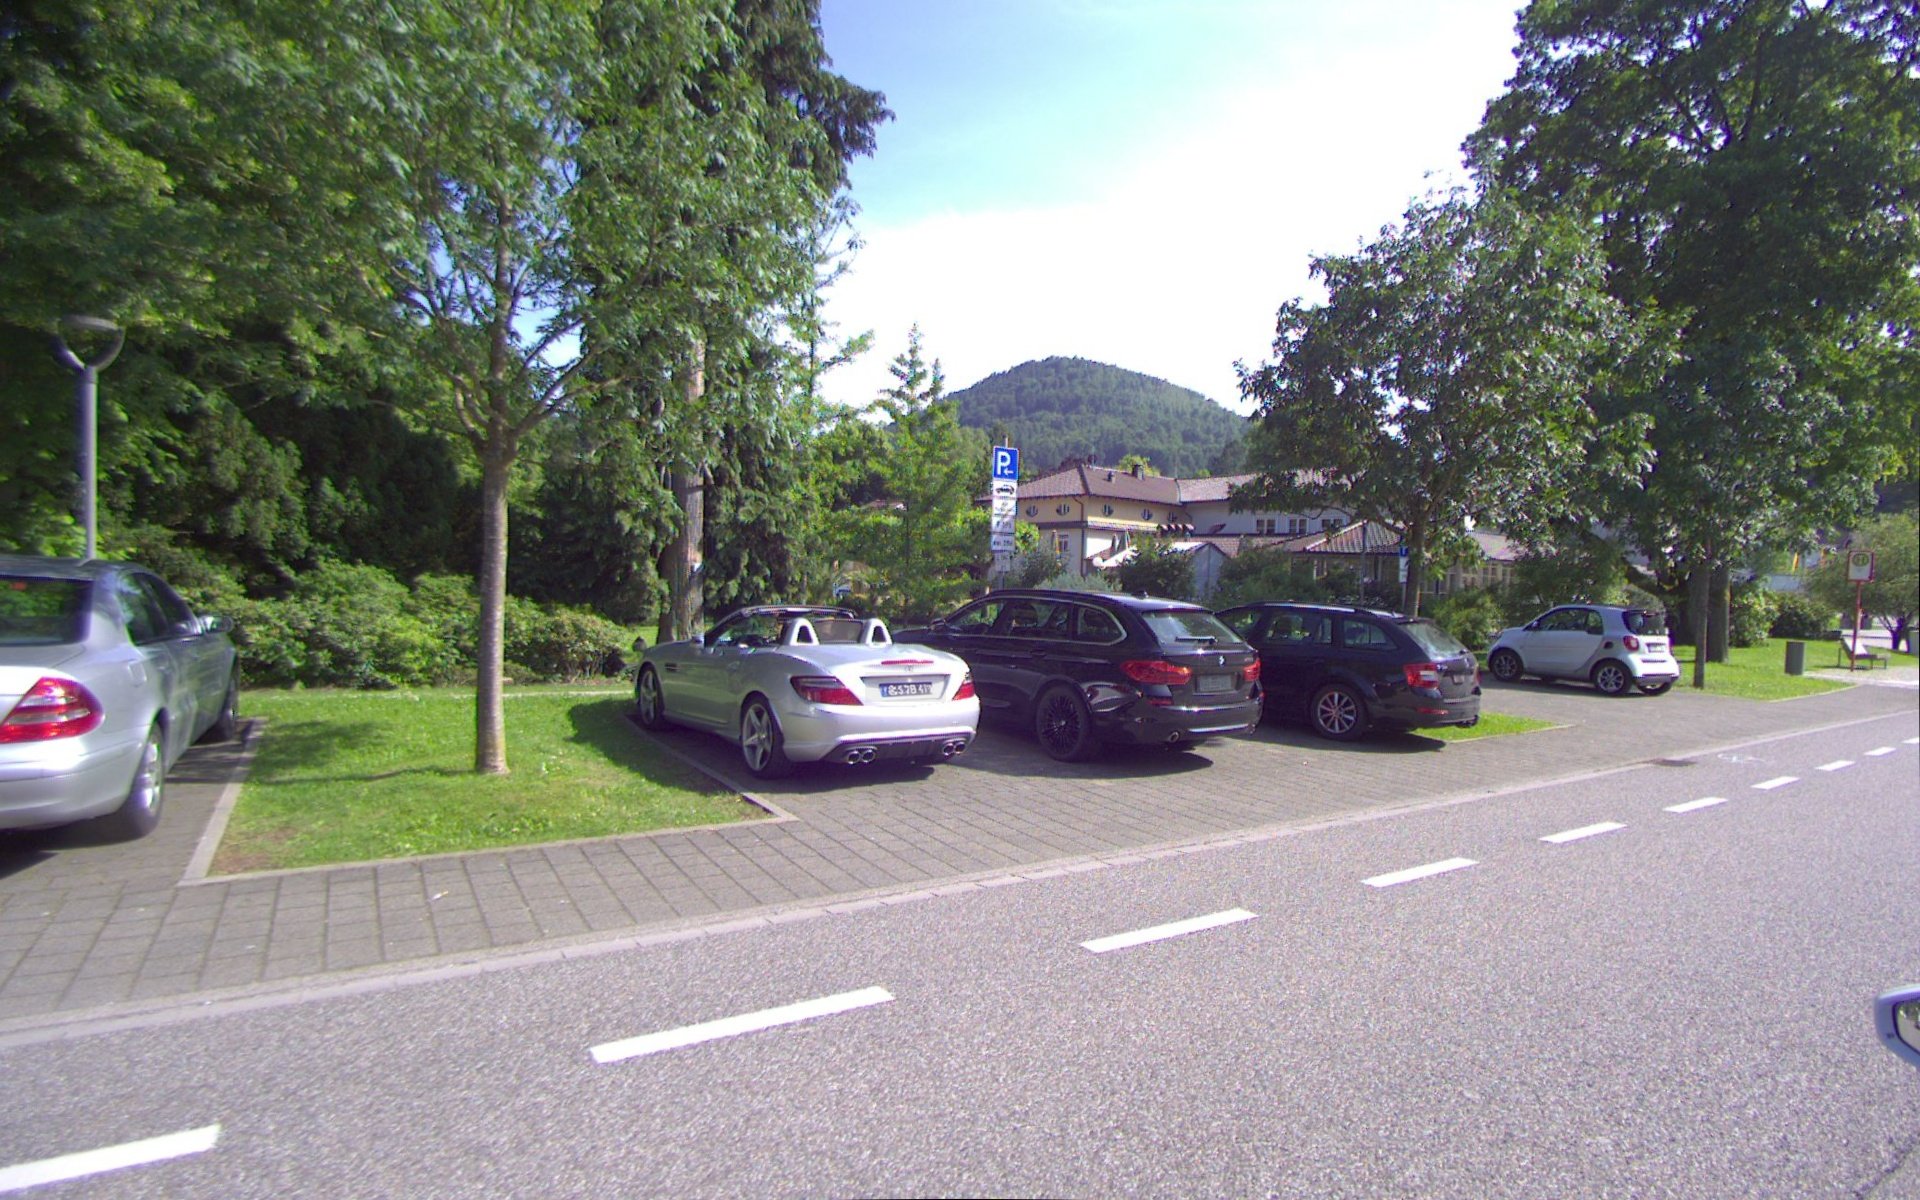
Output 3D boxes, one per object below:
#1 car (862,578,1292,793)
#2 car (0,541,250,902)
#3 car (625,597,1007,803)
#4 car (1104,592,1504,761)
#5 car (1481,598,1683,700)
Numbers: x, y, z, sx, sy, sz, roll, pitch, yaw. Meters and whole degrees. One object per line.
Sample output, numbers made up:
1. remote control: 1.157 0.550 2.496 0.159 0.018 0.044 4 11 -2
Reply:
1. car: 0.908 0.648 10.172 1.697 1.530 4.460 1 2 -37
2. car: -5.579 0.432 5.996 1.789 1.436 4.459 2 3 -31
3. car: -1.460 0.699 8.885 1.746 1.259 3.766 2 1 -37
4. car: 3.942 0.758 12.111 1.700 1.451 4.236 1 3 -42
5. car: 11.407 0.849 18.532 1.663 1.567 2.637 2 2 -30
